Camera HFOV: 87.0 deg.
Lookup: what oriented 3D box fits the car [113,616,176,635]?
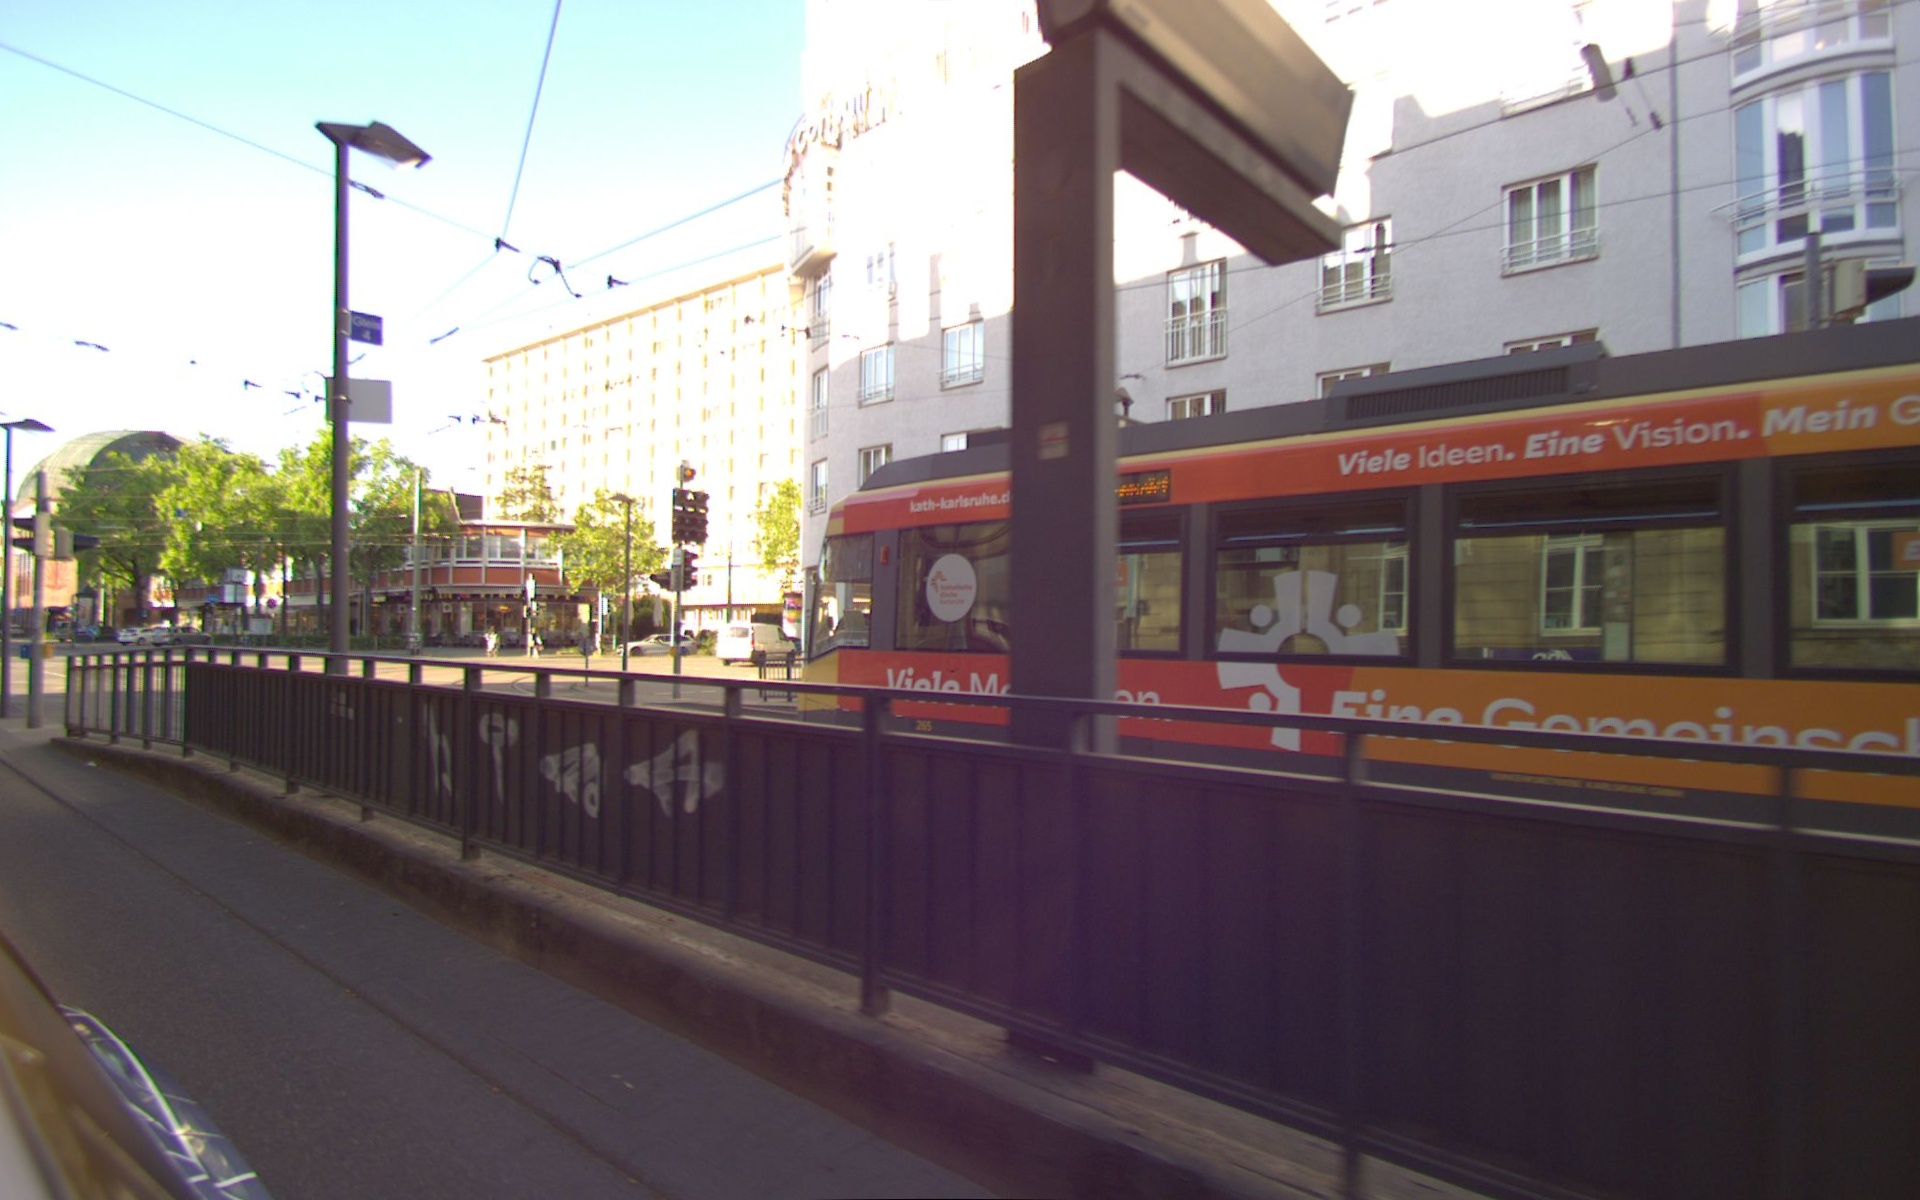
[{"bbox_3d":[-68.187,2.125,84.667,1.777,1.486,3.989,0,-1,9],"label":"car"}]

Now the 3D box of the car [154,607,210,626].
[{"bbox_3d":[-92.722,1.988,120.627,1.997,2.029,4.922,-1,-3,38],"label":"car"}]

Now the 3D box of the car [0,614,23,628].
[{"bbox_3d":[-112.811,2.527,119.977,3.995,1.615,1.887,-1,-2,39],"label":"car"}]

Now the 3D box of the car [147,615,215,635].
[{"bbox_3d":[-59.922,1.915,77.920,1.777,1.566,3.989,0,-1,9],"label":"car"}]

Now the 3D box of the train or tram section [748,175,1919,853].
[{"bbox_3d":[3.824,-0.401,8.129,14.159,3.517,2.855,-1,-2,41],"label":"train or tram section"}]

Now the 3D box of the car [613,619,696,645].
[{"bbox_3d":[-18.364,1.954,60.869,4.380,1.432,1.896,3,-3,-33],"label":"car"}]

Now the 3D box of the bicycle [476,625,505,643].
[{"bbox_3d":[-25.338,1.826,54.597,0.830,0.934,2.269,3,-3,-39],"label":"bicycle"}]

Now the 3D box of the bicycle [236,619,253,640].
[{"bbox_3d":[-42.871,1.771,60.619,0.574,1.244,1.858,1,-2,-44],"label":"bicycle"}]

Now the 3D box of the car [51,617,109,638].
[{"bbox_3d":[-83.494,2.577,96.079,1.888,1.979,3.993,0,-1,6],"label":"car"}]

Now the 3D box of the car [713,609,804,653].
[{"bbox_3d":[-9.085,1.374,46.065,1.981,1.851,5.322,1,-1,14],"label":"car"}]

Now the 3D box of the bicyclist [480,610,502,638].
[{"bbox_3d":[-25.311,1.309,54.612,0.830,1.478,0.898,3,-3,-39],"label":"bicyclist"}]

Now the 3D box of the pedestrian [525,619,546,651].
[{"bbox_3d":[-23.168,1.928,55.228,0.857,1.695,0.697,4,-6,-41],"label":"pedestrian"}]
